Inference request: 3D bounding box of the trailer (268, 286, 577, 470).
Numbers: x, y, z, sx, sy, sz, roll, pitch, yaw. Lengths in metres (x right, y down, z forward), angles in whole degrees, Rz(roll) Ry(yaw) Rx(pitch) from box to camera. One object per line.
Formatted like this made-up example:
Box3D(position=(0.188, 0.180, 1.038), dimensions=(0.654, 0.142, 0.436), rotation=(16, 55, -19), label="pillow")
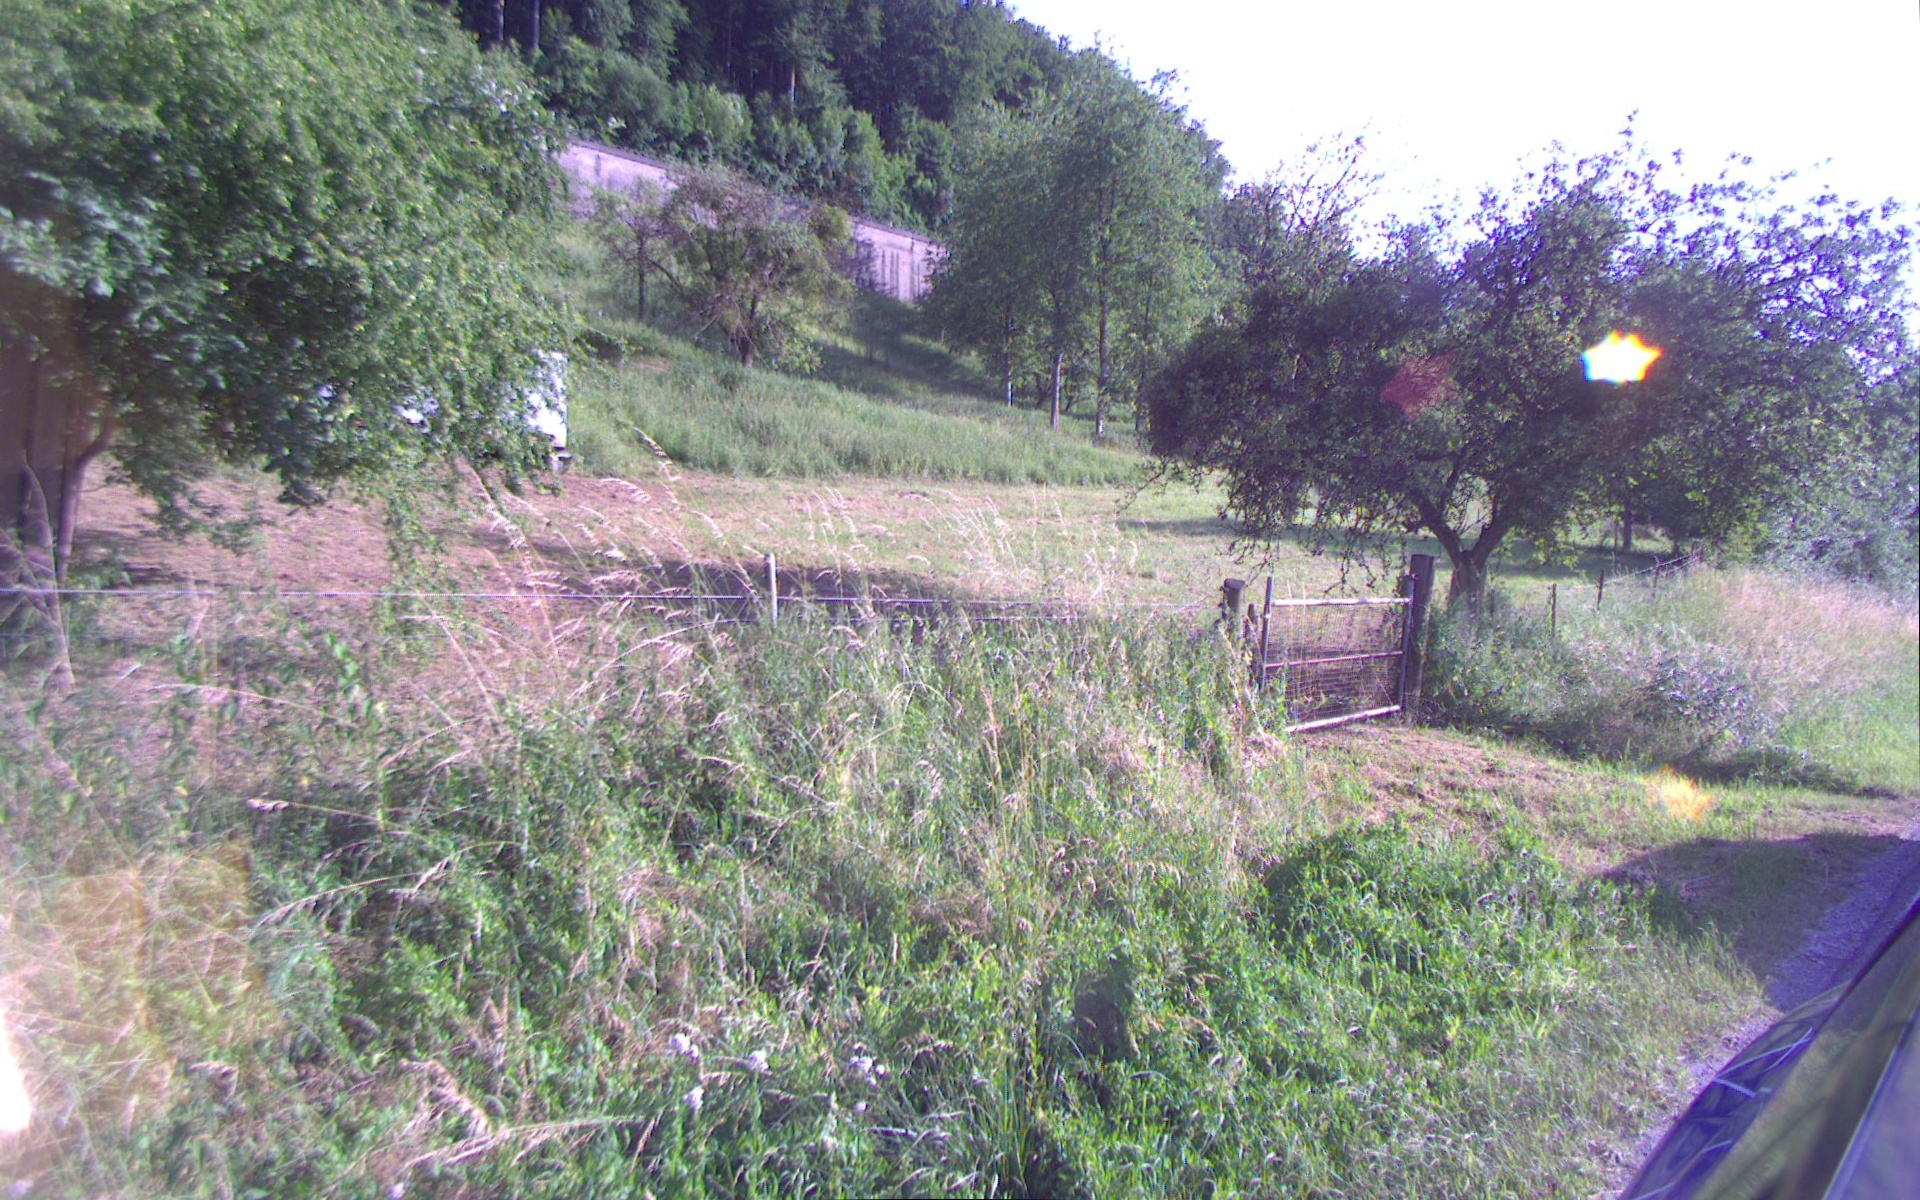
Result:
Box3D(position=(-11.045, -4.387, 21.084), dimensions=(5.159, 2.590, 2.155), rotation=(4, 1, -44), label="trailer")
